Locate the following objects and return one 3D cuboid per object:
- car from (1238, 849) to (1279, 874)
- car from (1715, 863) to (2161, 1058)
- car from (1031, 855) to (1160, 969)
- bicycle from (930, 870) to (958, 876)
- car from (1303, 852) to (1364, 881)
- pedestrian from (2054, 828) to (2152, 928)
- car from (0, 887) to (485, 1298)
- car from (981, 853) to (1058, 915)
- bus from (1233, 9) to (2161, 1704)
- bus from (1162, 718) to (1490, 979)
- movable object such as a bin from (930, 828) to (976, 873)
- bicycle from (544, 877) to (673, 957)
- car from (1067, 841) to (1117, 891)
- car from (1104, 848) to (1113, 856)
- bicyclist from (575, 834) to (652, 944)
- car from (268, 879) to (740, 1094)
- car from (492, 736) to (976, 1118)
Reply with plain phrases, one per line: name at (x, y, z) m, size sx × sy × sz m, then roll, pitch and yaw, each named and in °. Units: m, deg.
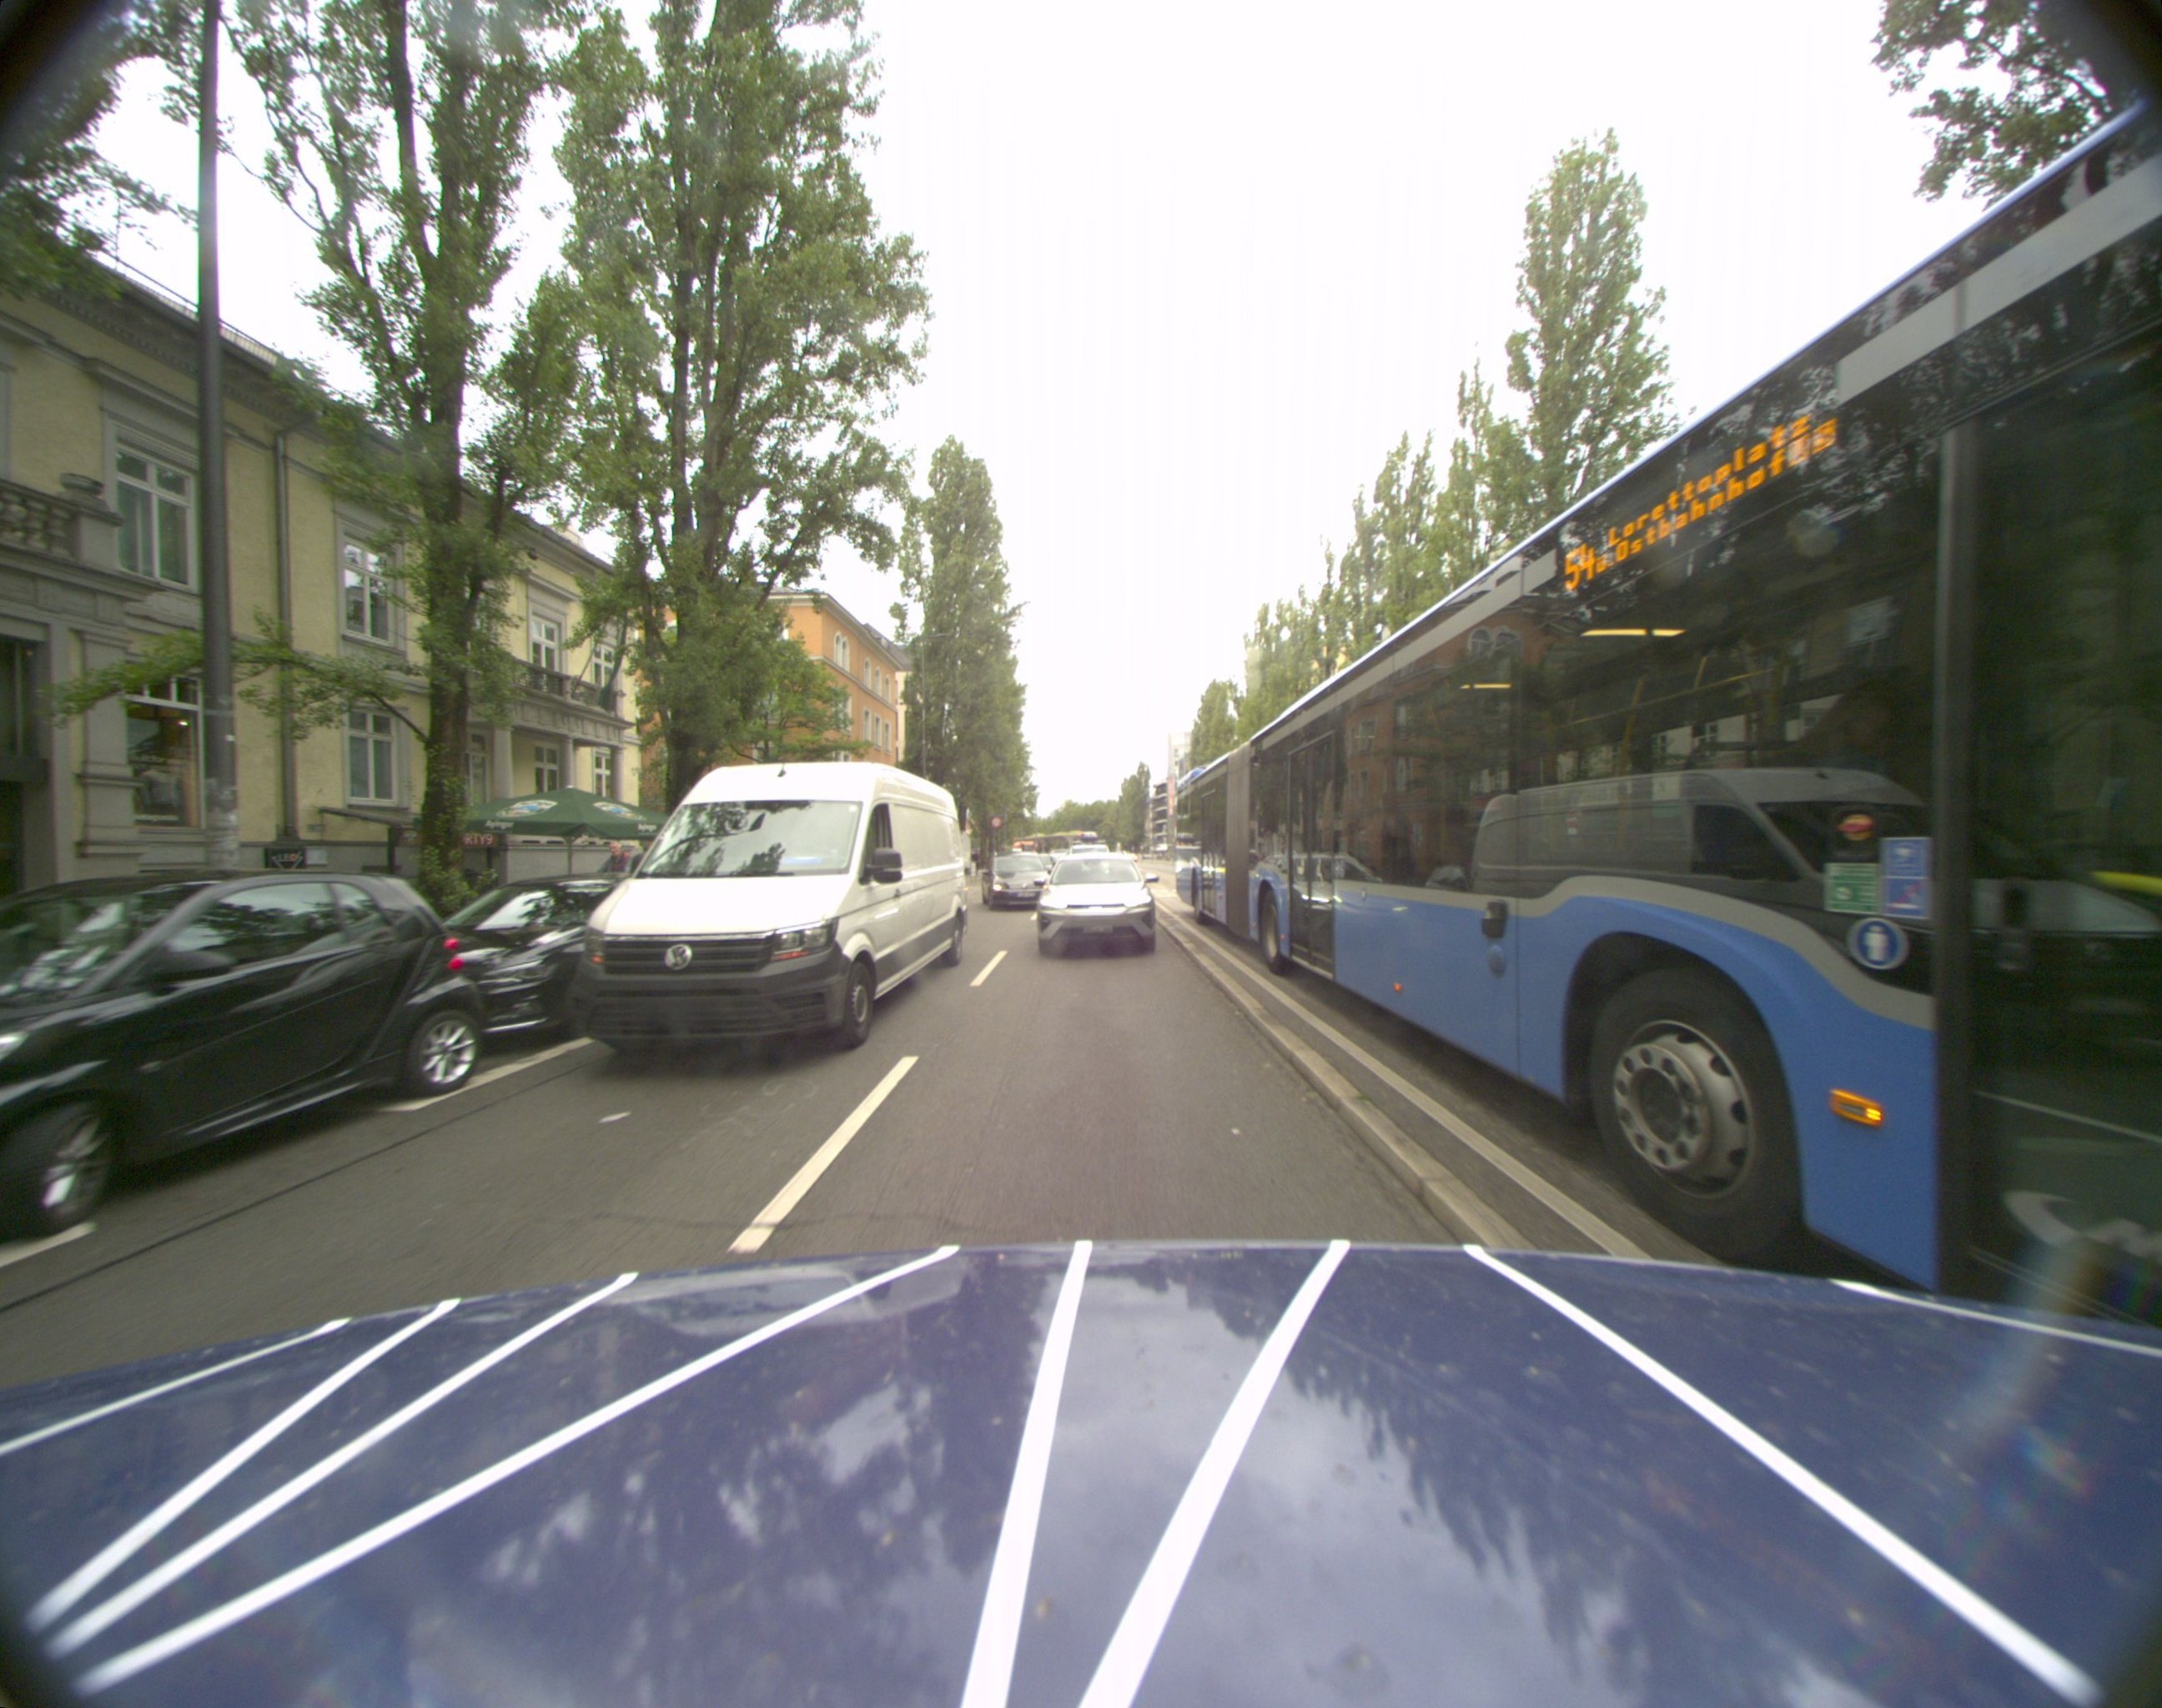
car at (12.298, 0.485, 52.916) m, size 1.802 × 1.603 × 4.574 m, roll 0°, pitch 0°, yaw 1°
car at (9.212, 0.861, 7.933) m, size 1.750 × 1.426 × 4.129 m, roll 1°, pitch 0°, yaw 1°
car at (0.204, 0.815, 12.633) m, size 1.742 × 1.510 × 4.033 m, roll -2°, pitch 0°, yaw 0°
bicycle at (-8.349, 1.165, 46.361) m, size 1.677 × 0.371 × 0.830 m, roll 1°, pitch 0°, yaw -7°
car at (13.145, 0.613, 39.784) m, size 1.760 × 1.414 × 3.784 m, roll 1°, pitch 0°, yaw -2°
pedestrian at (20.304, 0.461, 15.123) m, size 0.699 × 1.915 × 0.905 m, roll 0°, pitch 1°, yaw 4°
car at (-5.083, 1.020, 4.037) m, size 1.596 × 1.509 × 2.729 m, roll -2°, pitch 1°, yaw 1°
car at (-1.908, 0.788, 22.346) m, size 1.884 × 1.582 × 4.189 m, roll -2°, pitch 0°, yaw -9°
bus at (3.244, -0.024, 4.619) m, size 2.696 × 2.932 × 10.051 m, roll 0°, pitch 0°, yaw 0°
bus at (3.313, -0.094, 13.613) m, size 2.690 × 2.932 × 10.051 m, roll 0°, pitch 0°, yaw 0°
movable object such as a bin at (-9.210, -0.270, 55.168) m, size 2.445 × 3.119 × 4.543 m, roll 1°, pitch 1°, yaw 1°
bicycle at (-7.705, 0.984, 12.540) m, size 0.887 × 1.113 × 2.101 m, roll -1°, pitch 1°, yaw -3°
car at (0.426, 0.407, 31.482) m, size 1.839 × 1.831 × 5.129 m, roll -2°, pitch 1°, yaw 0°
car at (5.421, -0.442, 150.861) m, size 1.718 × 1.532 × 4.076 m, roll 1°, pitch 0°, yaw 1°
bicyclist at (-7.713, 0.561, 12.568) m, size 0.831 × 1.747 × 0.667 m, roll -1°, pitch 1°, yaw -4°
car at (-5.290, 1.066, 7.877) m, size 1.714 × 1.385 × 4.342 m, roll -1°, pitch 1°, yaw -3°
car at (-2.759, 0.471, 8.384) m, size 2.068 × 2.478 × 6.730 m, roll -1°, pitch 0°, yaw 1°
